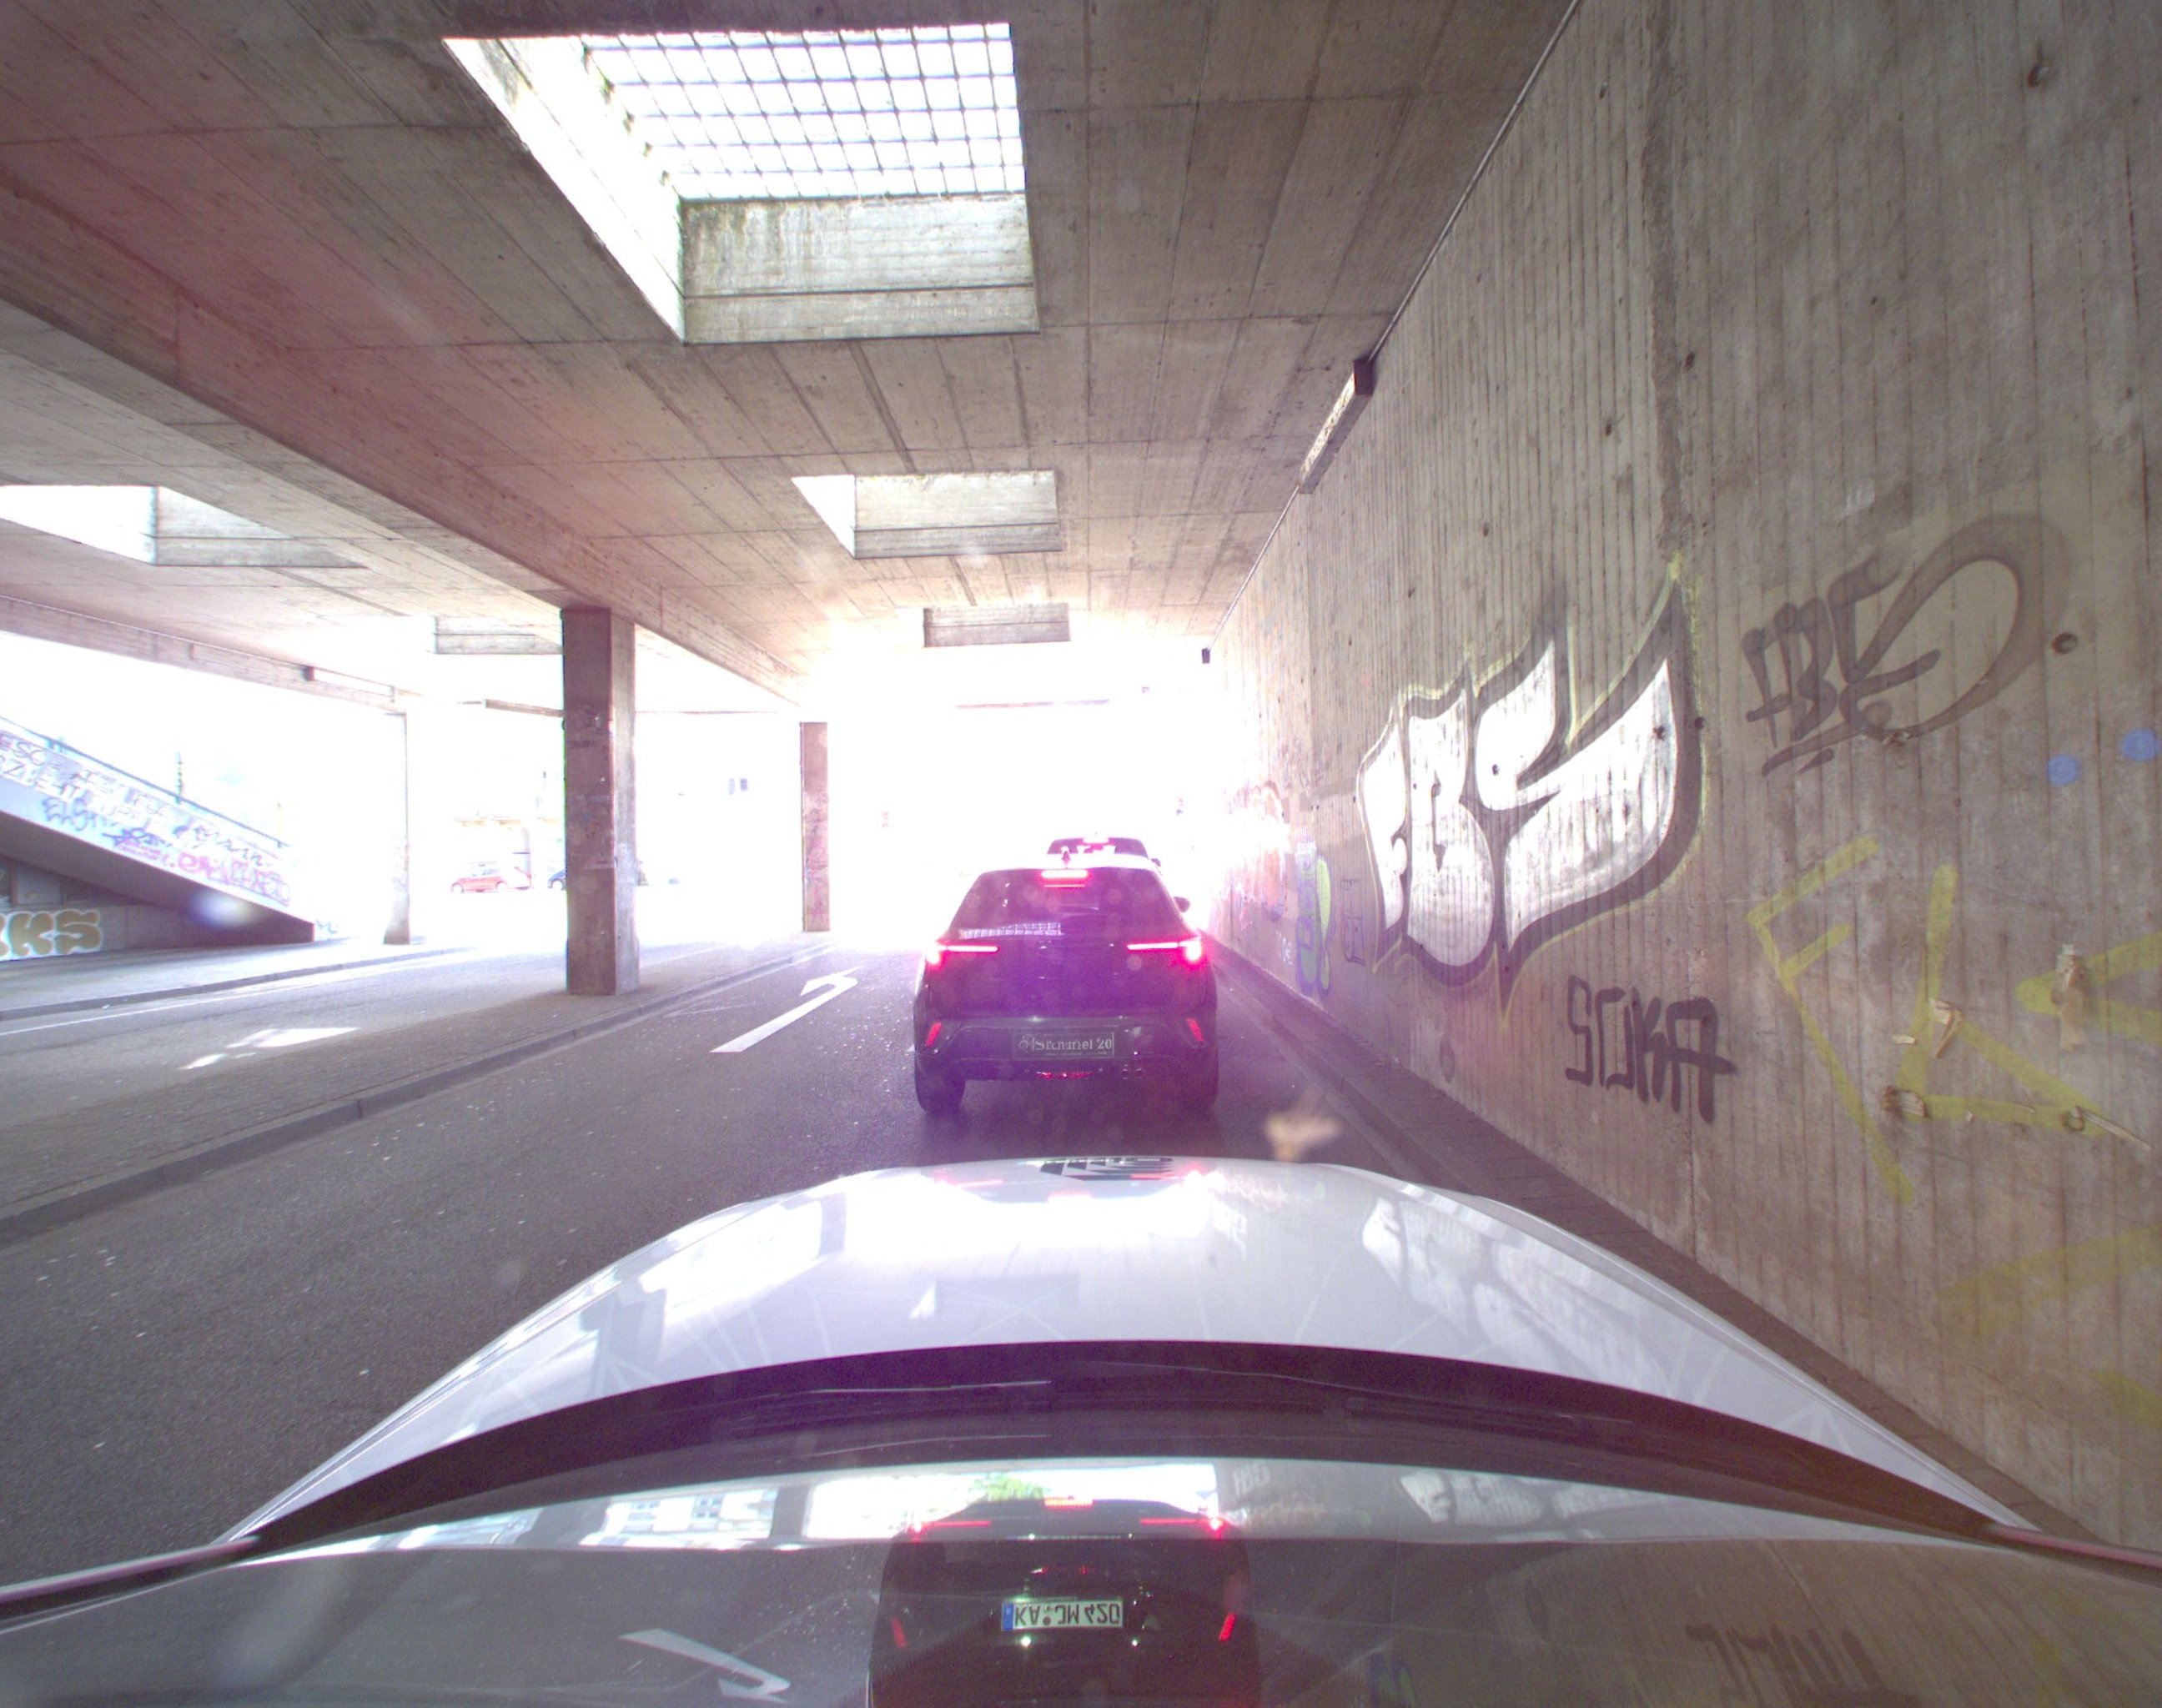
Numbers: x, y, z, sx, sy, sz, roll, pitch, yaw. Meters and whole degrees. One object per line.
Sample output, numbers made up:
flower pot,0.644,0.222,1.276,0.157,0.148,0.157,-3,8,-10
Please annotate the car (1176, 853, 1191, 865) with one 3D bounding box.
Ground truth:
car,13.102,0.622,103.875,1.587,1.452,3.808,-1,0,12

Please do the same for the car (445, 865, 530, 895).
car,-32.845,1.428,45.121,3.519,1.506,1.563,-1,0,2

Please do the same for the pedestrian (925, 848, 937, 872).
pedestrian,-10.865,0.437,58.837,0.618,1.705,0.726,0,-1,13

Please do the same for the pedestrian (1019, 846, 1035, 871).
pedestrian,-3.399,0.264,51.649,0.729,1.585,0.894,0,-1,18

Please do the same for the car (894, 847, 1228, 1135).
car,-0.032,0.716,6.272,1.746,1.498,4.002,0,0,2

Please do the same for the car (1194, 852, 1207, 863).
car,17.783,0.536,121.340,1.573,1.640,3.819,-1,0,12

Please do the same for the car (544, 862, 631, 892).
car,-27.392,1.280,45.270,3.742,1.508,1.752,-2,0,0

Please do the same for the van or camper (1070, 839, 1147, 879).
van or camper,1.521,0.283,43.765,3.854,2.013,2.005,-1,0,9

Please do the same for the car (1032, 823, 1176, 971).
car,0.358,0.539,12.168,1.779,1.833,3.962,-1,0,2

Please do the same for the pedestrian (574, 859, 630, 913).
pedestrian,-16.035,1.053,27.287,1.103,1.737,1.146,-1,0,15

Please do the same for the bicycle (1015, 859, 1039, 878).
bicycle,-3.415,0.898,51.562,0.730,1.130,2.036,-2,0,19
